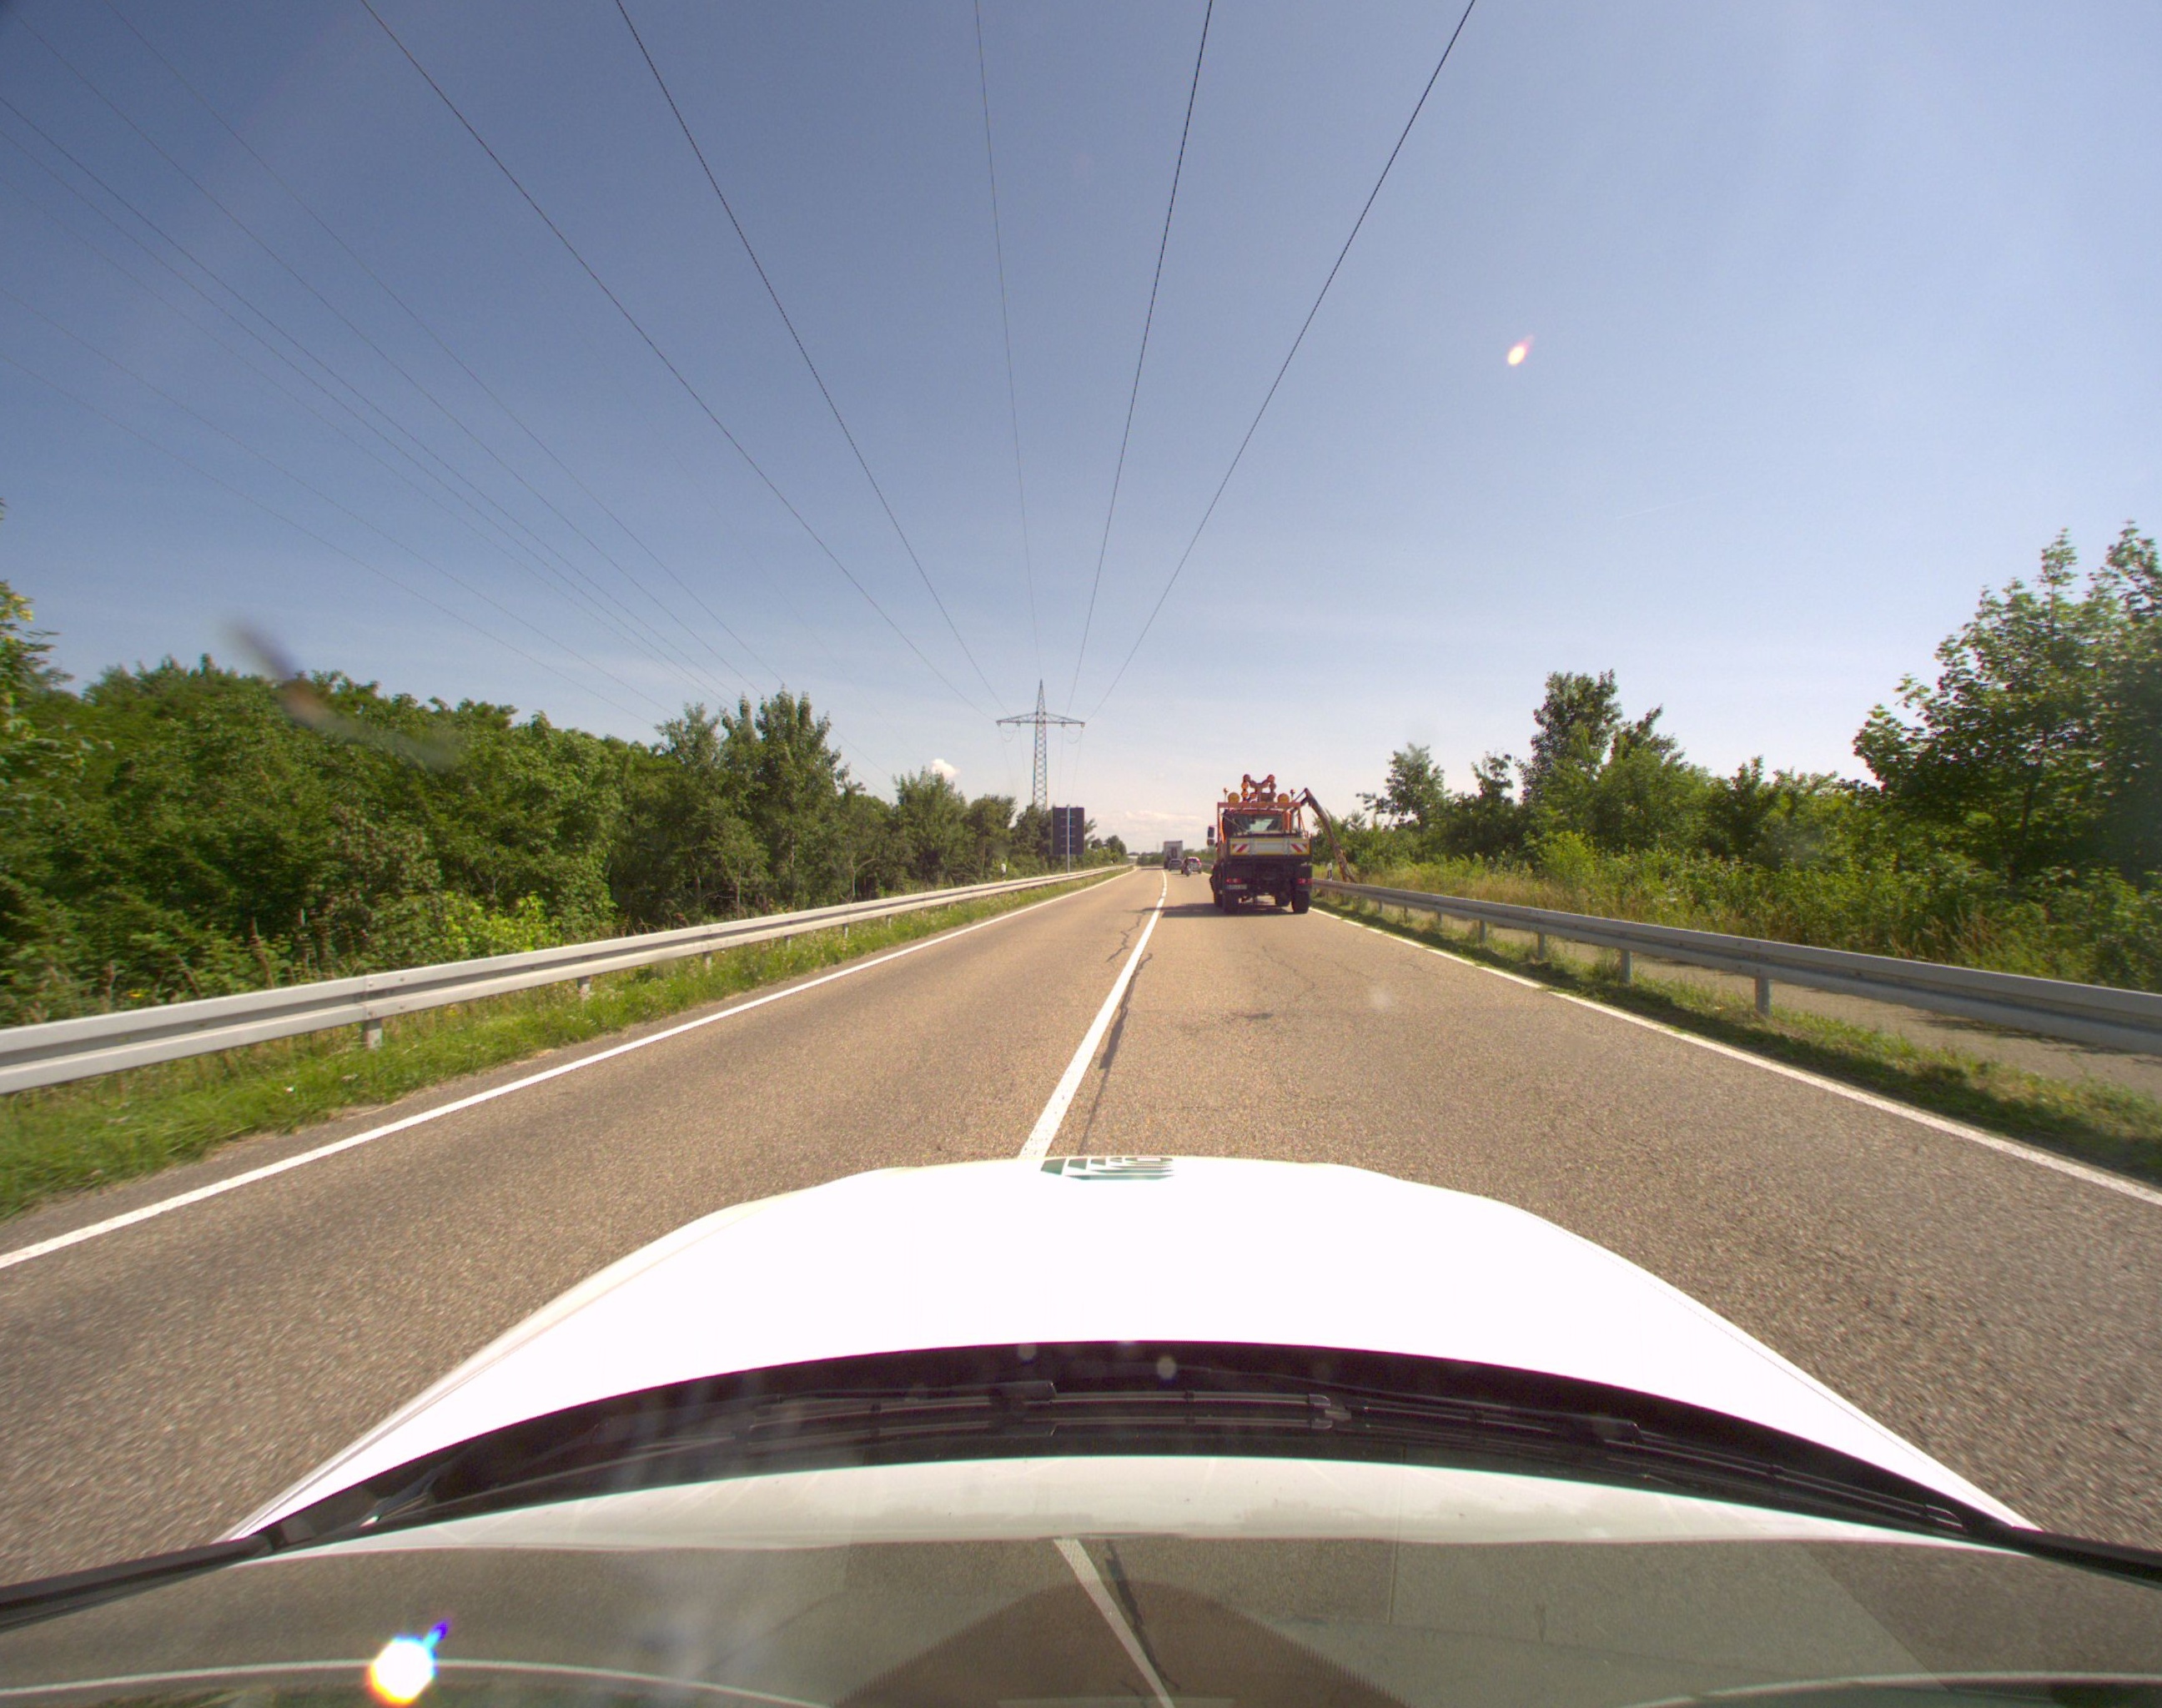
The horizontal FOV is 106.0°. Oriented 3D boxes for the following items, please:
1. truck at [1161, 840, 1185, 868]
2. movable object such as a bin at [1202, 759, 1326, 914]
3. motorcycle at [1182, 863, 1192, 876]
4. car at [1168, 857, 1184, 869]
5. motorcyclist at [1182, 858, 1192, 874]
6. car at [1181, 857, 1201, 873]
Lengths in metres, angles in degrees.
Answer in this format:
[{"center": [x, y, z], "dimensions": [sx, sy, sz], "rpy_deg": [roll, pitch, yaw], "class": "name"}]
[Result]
[{"center": [13.698, 0.080, 121.219], "dimensions": [3.225, 3.979, 9.460], "rpy_deg": [-1, -1, 6], "class": "truck"}, {"center": [5.249, -0.430, 25.022], "dimensions": [2.739, 3.839, 9.463], "rpy_deg": [-1, 0, 7], "class": "movable object such as a bin"}, {"center": [8.518, 1.236, 65.432], "dimensions": [0.776, 0.975, 2.365], "rpy_deg": [-1, 0, 6], "class": "motorcycle"}, {"center": [11.336, 1.055, 97.779], "dimensions": [1.856, 1.420, 4.007], "rpy_deg": [0, 0, 6], "class": "car"}, {"center": [8.527, 0.955, 65.453], "dimensions": [0.776, 1.325, 0.814], "rpy_deg": [-1, 0, 6], "class": "motorcyclist"}, {"center": [10.273, 0.991, 76.140], "dimensions": [1.816, 1.451, 4.008], "rpy_deg": [-1, 0, 7], "class": "car"}]
